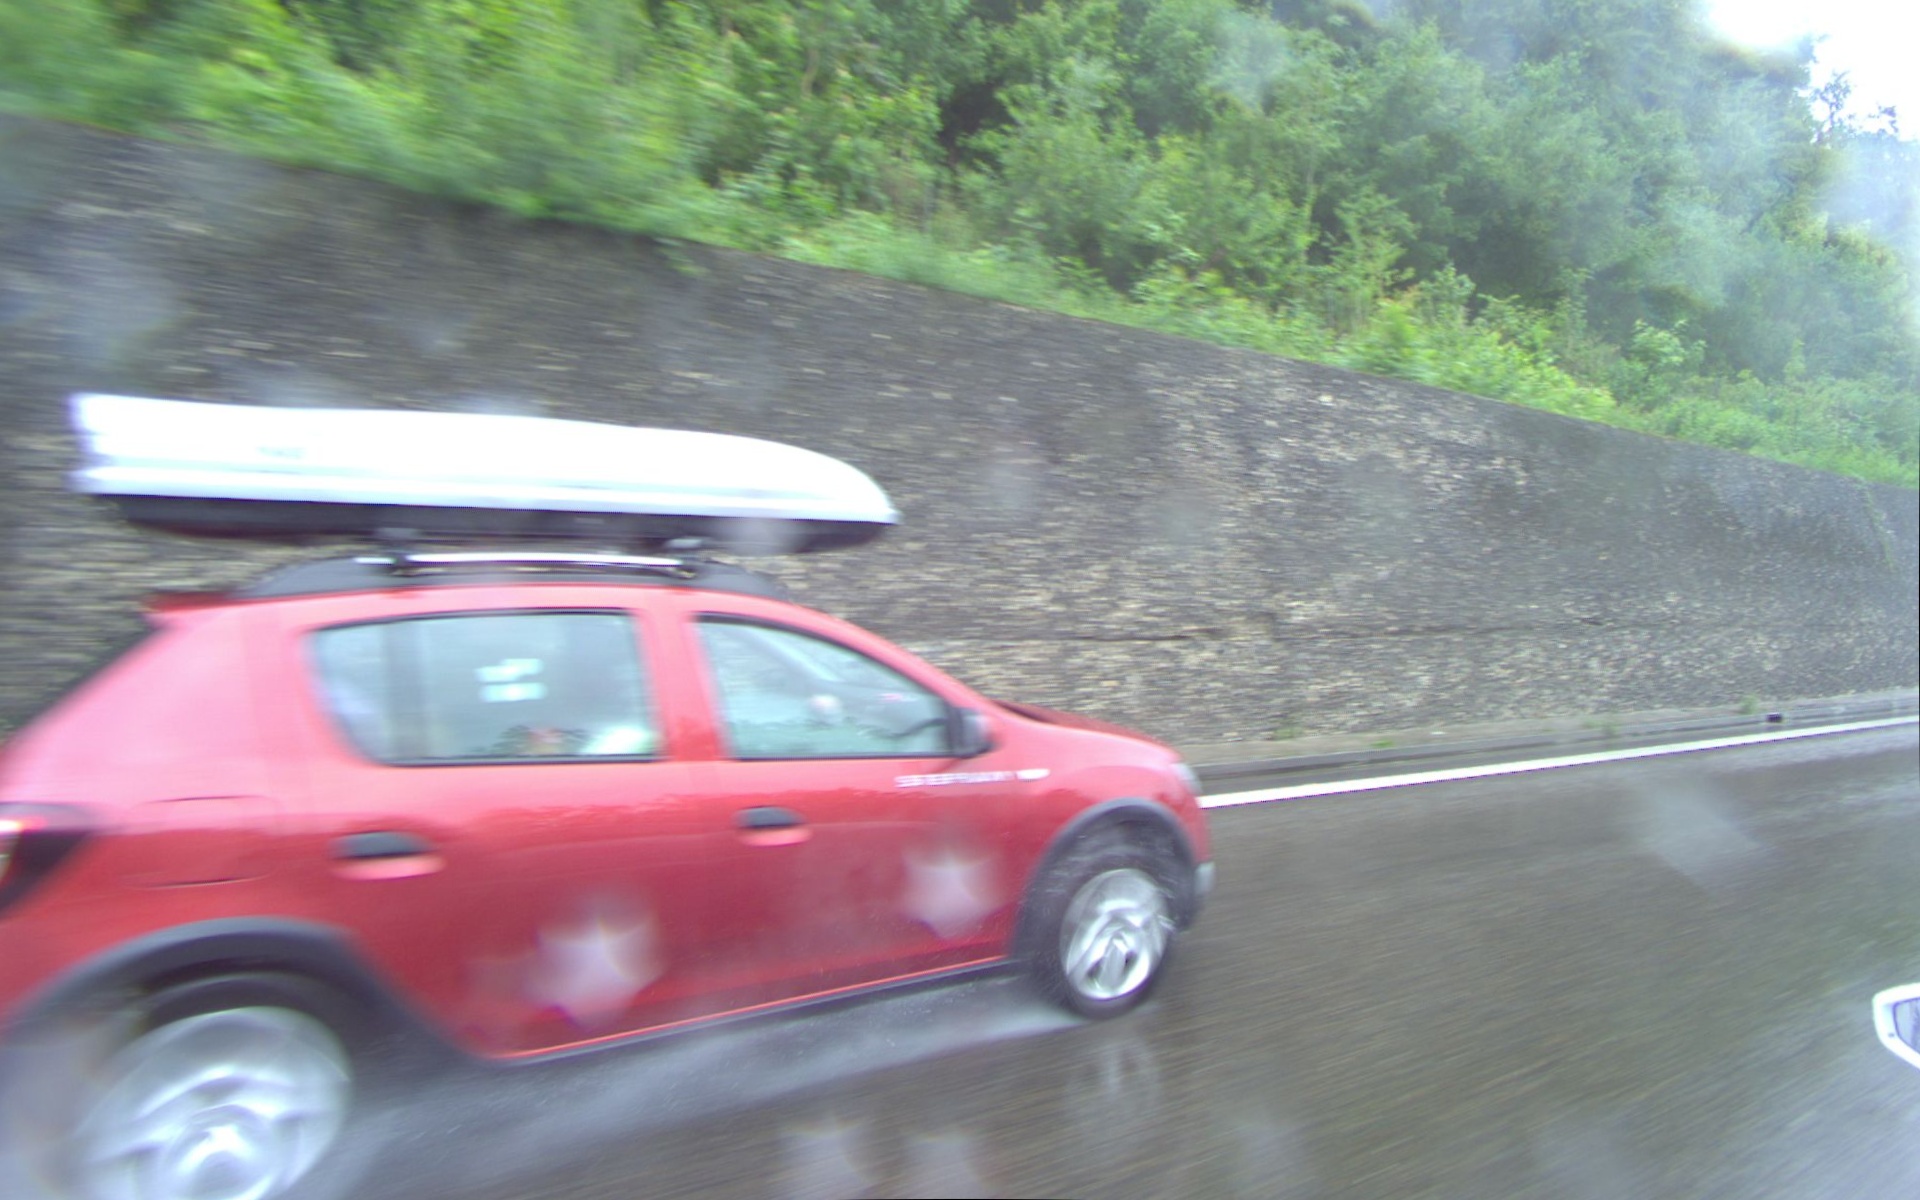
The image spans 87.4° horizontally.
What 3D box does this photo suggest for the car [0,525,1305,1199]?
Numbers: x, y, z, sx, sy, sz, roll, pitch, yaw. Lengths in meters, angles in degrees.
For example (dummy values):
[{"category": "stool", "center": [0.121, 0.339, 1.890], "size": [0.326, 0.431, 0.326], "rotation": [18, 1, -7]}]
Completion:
[{"category": "car", "center": [-0.905, 0.660, 3.728], "size": [3.949, 1.572, 1.986], "rotation": [1, 0, -28]}]
